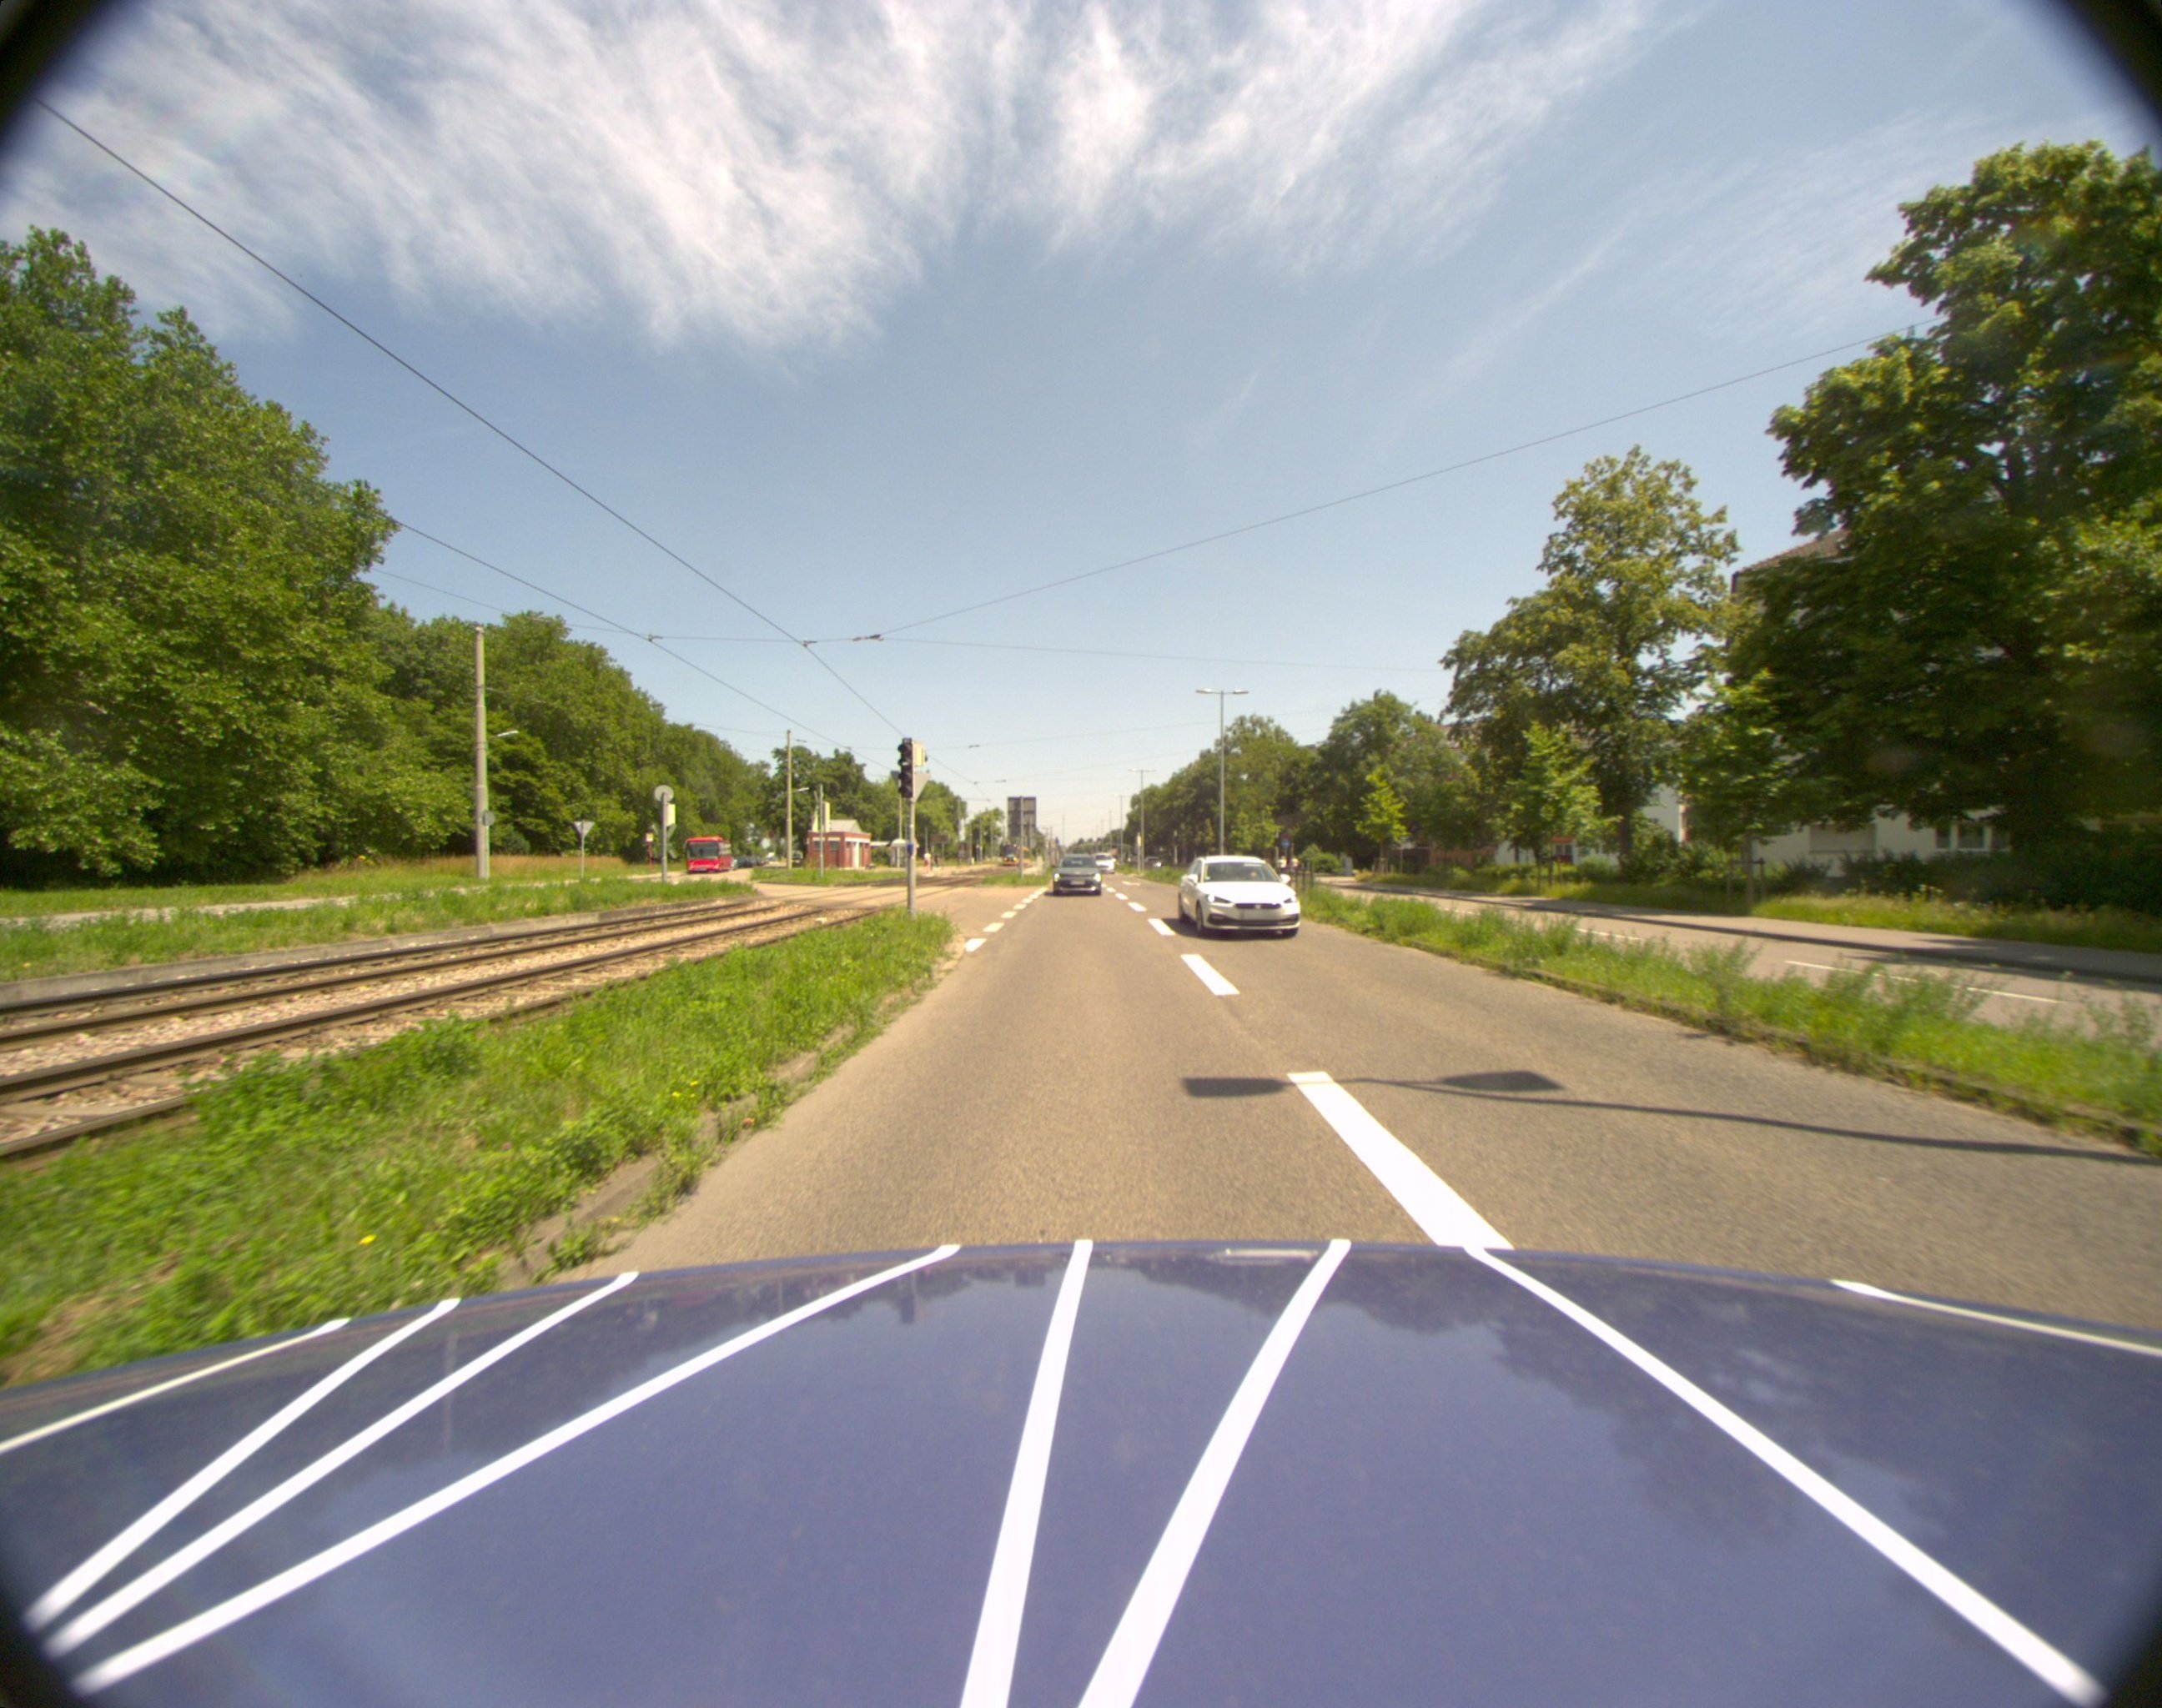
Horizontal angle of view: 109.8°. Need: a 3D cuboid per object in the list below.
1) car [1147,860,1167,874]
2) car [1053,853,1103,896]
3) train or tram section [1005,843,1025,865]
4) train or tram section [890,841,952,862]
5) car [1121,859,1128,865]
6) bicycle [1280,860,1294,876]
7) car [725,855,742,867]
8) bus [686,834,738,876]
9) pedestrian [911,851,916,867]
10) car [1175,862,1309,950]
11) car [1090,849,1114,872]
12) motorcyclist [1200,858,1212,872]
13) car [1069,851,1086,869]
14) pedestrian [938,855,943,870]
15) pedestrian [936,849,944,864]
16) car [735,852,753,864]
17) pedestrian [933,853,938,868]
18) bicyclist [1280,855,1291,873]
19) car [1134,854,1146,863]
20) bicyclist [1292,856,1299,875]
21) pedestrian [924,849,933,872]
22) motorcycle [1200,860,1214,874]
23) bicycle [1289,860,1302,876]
[{"bbox_3d":[8.588,1.465,86.534,1.761,1.534,4.160,1,0,-1],"label":"car"},{"bbox_3d":[-0.053,0.740,29.586,1.788,1.554,4.136,0,0,2],"label":"car"},{"bbox_3d":[-10.431,0.044,120.900,2.524,3.303,7.260,1,0,0],"label":"train or tram section"},{"bbox_3d":[-30.618,-0.424,144.973,13.150,3.628,2.720,-1,1,30],"label":"train or tram section"},{"bbox_3d":[12.851,2.444,224.170,1.864,1.748,4.479,-1,0,-2],"label":"car"},{"bbox_3d":[15.048,1.036,55.497,0.590,1.126,1.615,1,0,0],"label":"bicycle"},{"bbox_3d":[-38.031,0.754,83.091,1.575,1.258,3.992,1,0,-23],"label":"car"},{"bbox_3d":[-33.617,0.063,69.663,2.771,3.419,12.423,-2,1,-20],"label":"bus"},{"bbox_3d":[-18.441,0.518,83.650,0.382,1.764,0.740,1,1,3],"label":"pedestrian"},{"bbox_3d":[2.981,0.898,14.911,1.772,1.460,4.111,0,0,0],"label":"car"},{"bbox_3d":[1.868,0.551,67.671,1.998,2.002,4.000,1,0,2],"label":"car"},{"bbox_3d":[12.098,1.050,73.613,0.738,1.395,1.511,1,0,-7],"label":"motorcyclist"},{"bbox_3d":[-0.425,0.711,91.570,1.921,2.002,4.000,0,0,-1],"label":"car"},{"bbox_3d":[-14.637,0.876,79.134,0.361,1.636,0.445,1,0,3],"label":"pedestrian"},{"bbox_3d":[-16.695,0.350,89.897,0.707,1.754,0.657,1,0,1],"label":"pedestrian"},{"bbox_3d":[-44.392,0.478,100.178,1.890,1.502,3.993,1,0,-20],"label":"car"},{"bbox_3d":[-15.240,0.666,79.514,0.361,1.587,0.483,1,1,3],"label":"pedestrian"},{"bbox_3d":[15.050,0.740,55.941,0.546,1.338,0.755,1,0,-1],"label":"bicyclist"},{"bbox_3d":[11.168,0.830,144.694,1.826,1.563,4.345,1,0,-3],"label":"car"},{"bbox_3d":[15.751,0.813,55.895,0.358,1.383,0.440,-2,0,2],"label":"bicyclist"},{"bbox_3d":[-11.752,0.477,58.501,0.637,1.749,0.815,-2,1,-14],"label":"pedestrian"},{"bbox_3d":[12.141,1.228,73.426,0.807,1.291,2.394,1,0,-3],"label":"motorcycle"},{"bbox_3d":[15.767,1.035,55.770,0.555,1.088,1.379,-1,1,1],"label":"bicycle"}]
